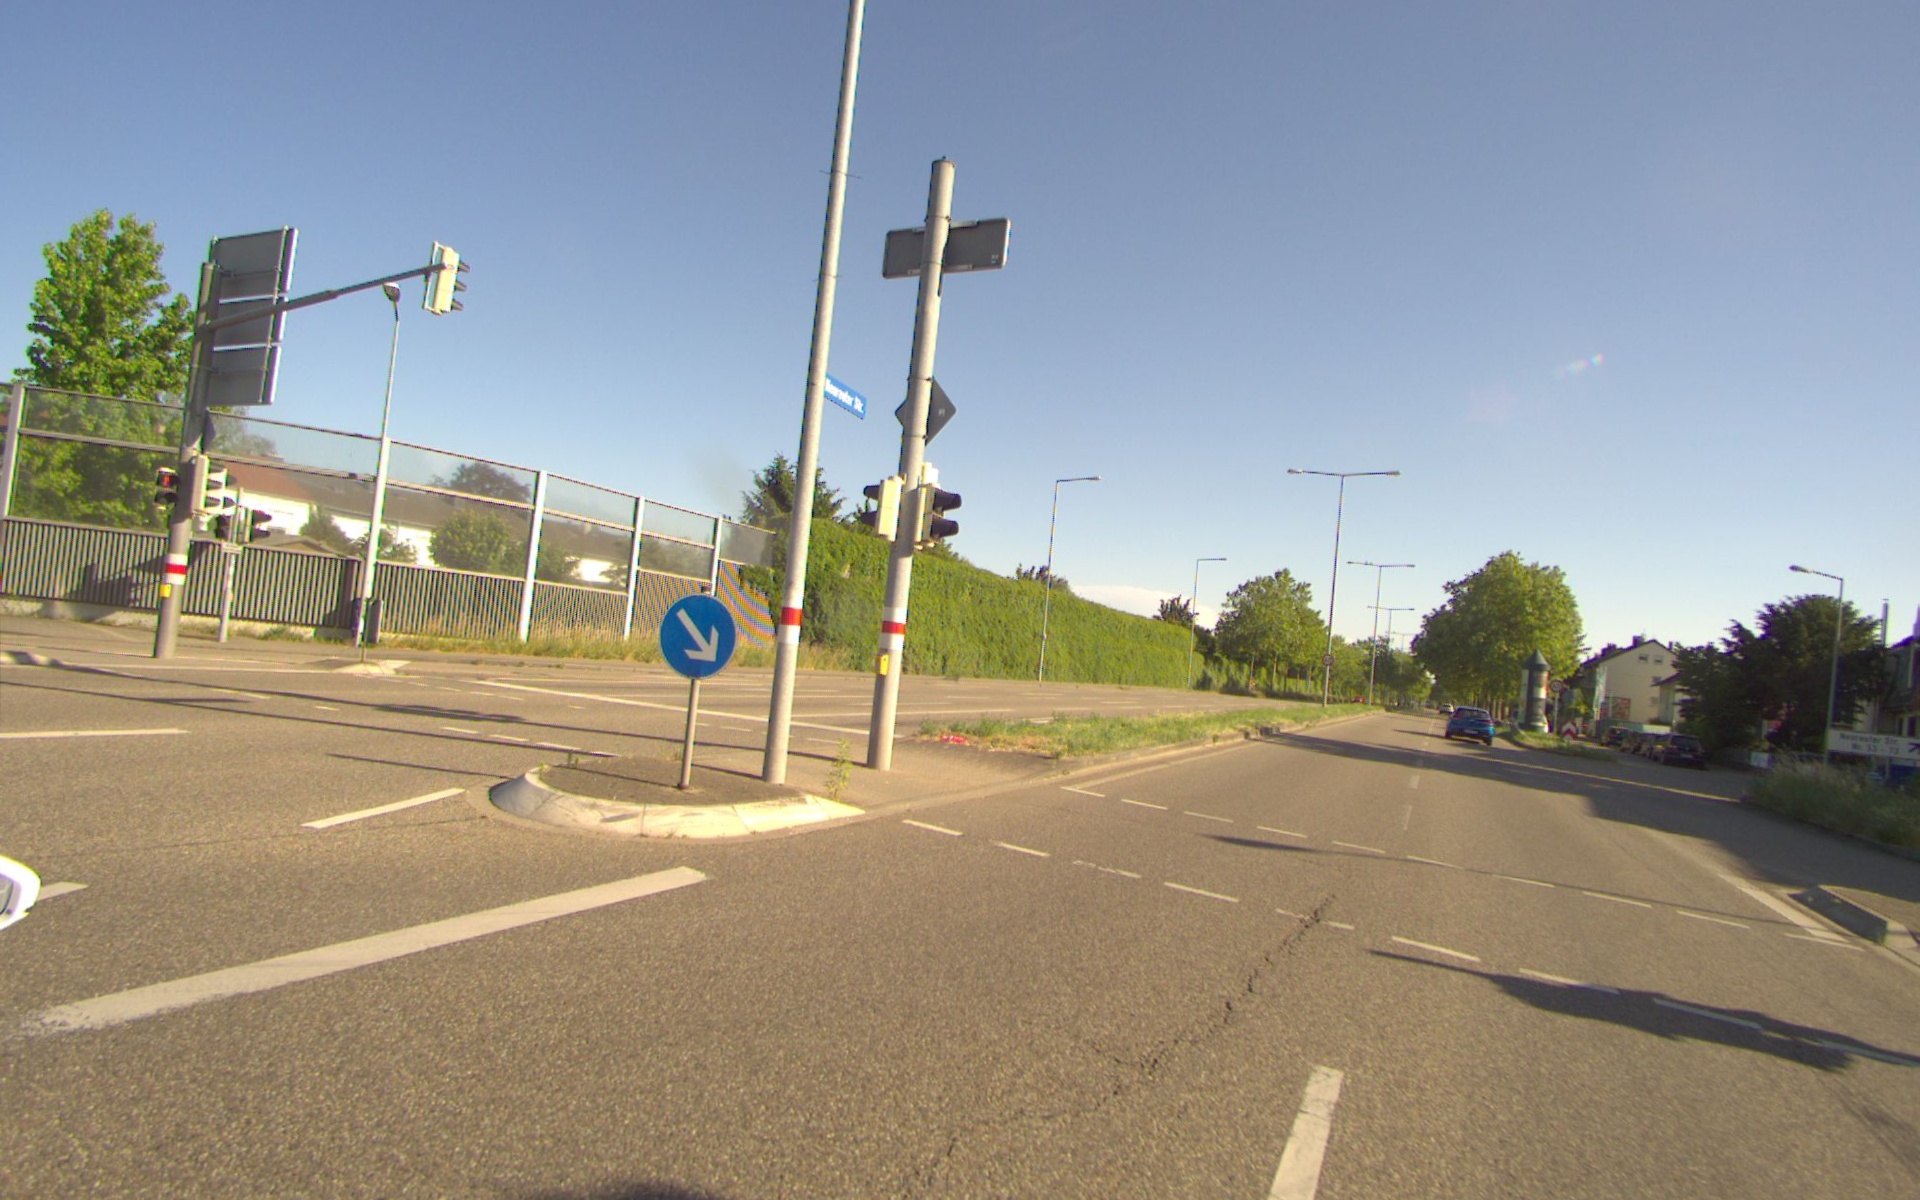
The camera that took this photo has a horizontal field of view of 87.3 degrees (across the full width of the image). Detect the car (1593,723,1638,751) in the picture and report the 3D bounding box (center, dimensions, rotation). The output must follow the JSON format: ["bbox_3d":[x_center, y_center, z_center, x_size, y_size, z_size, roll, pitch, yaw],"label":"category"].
[{"bbox_3d":[45.601,9.549,70.047,1.965,1.608,4.002,6,-4,27],"label":"car"}]

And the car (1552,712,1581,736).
[{"bbox_3d":[58.581,12.010,97.189,1.764,1.976,4.004,6,-4,24],"label":"car"}]

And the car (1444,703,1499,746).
[{"bbox_3d":[21.301,5.155,42.014,1.706,1.457,3.794,6,-2,24],"label":"car"}]

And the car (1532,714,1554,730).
[{"bbox_3d":[69.885,14.584,120.606,1.826,1.610,3.999,6,-2,26],"label":"car"}]

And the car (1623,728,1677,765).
[{"bbox_3d":[41.720,8.834,60.920,1.965,1.837,4.002,6,-4,27],"label":"car"}]

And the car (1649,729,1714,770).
[{"bbox_3d":[37.369,7.699,52.188,1.965,1.636,3.999,6,-2,26],"label":"car"}]

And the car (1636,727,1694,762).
[{"bbox_3d":[39.826,8.141,56.909,1.965,1.613,4.002,6,-4,27],"label":"car"}]

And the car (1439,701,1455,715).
[{"bbox_3d":[68.071,15.072,140.568,1.826,1.610,3.999,6,-2,26],"label":"car"}]
